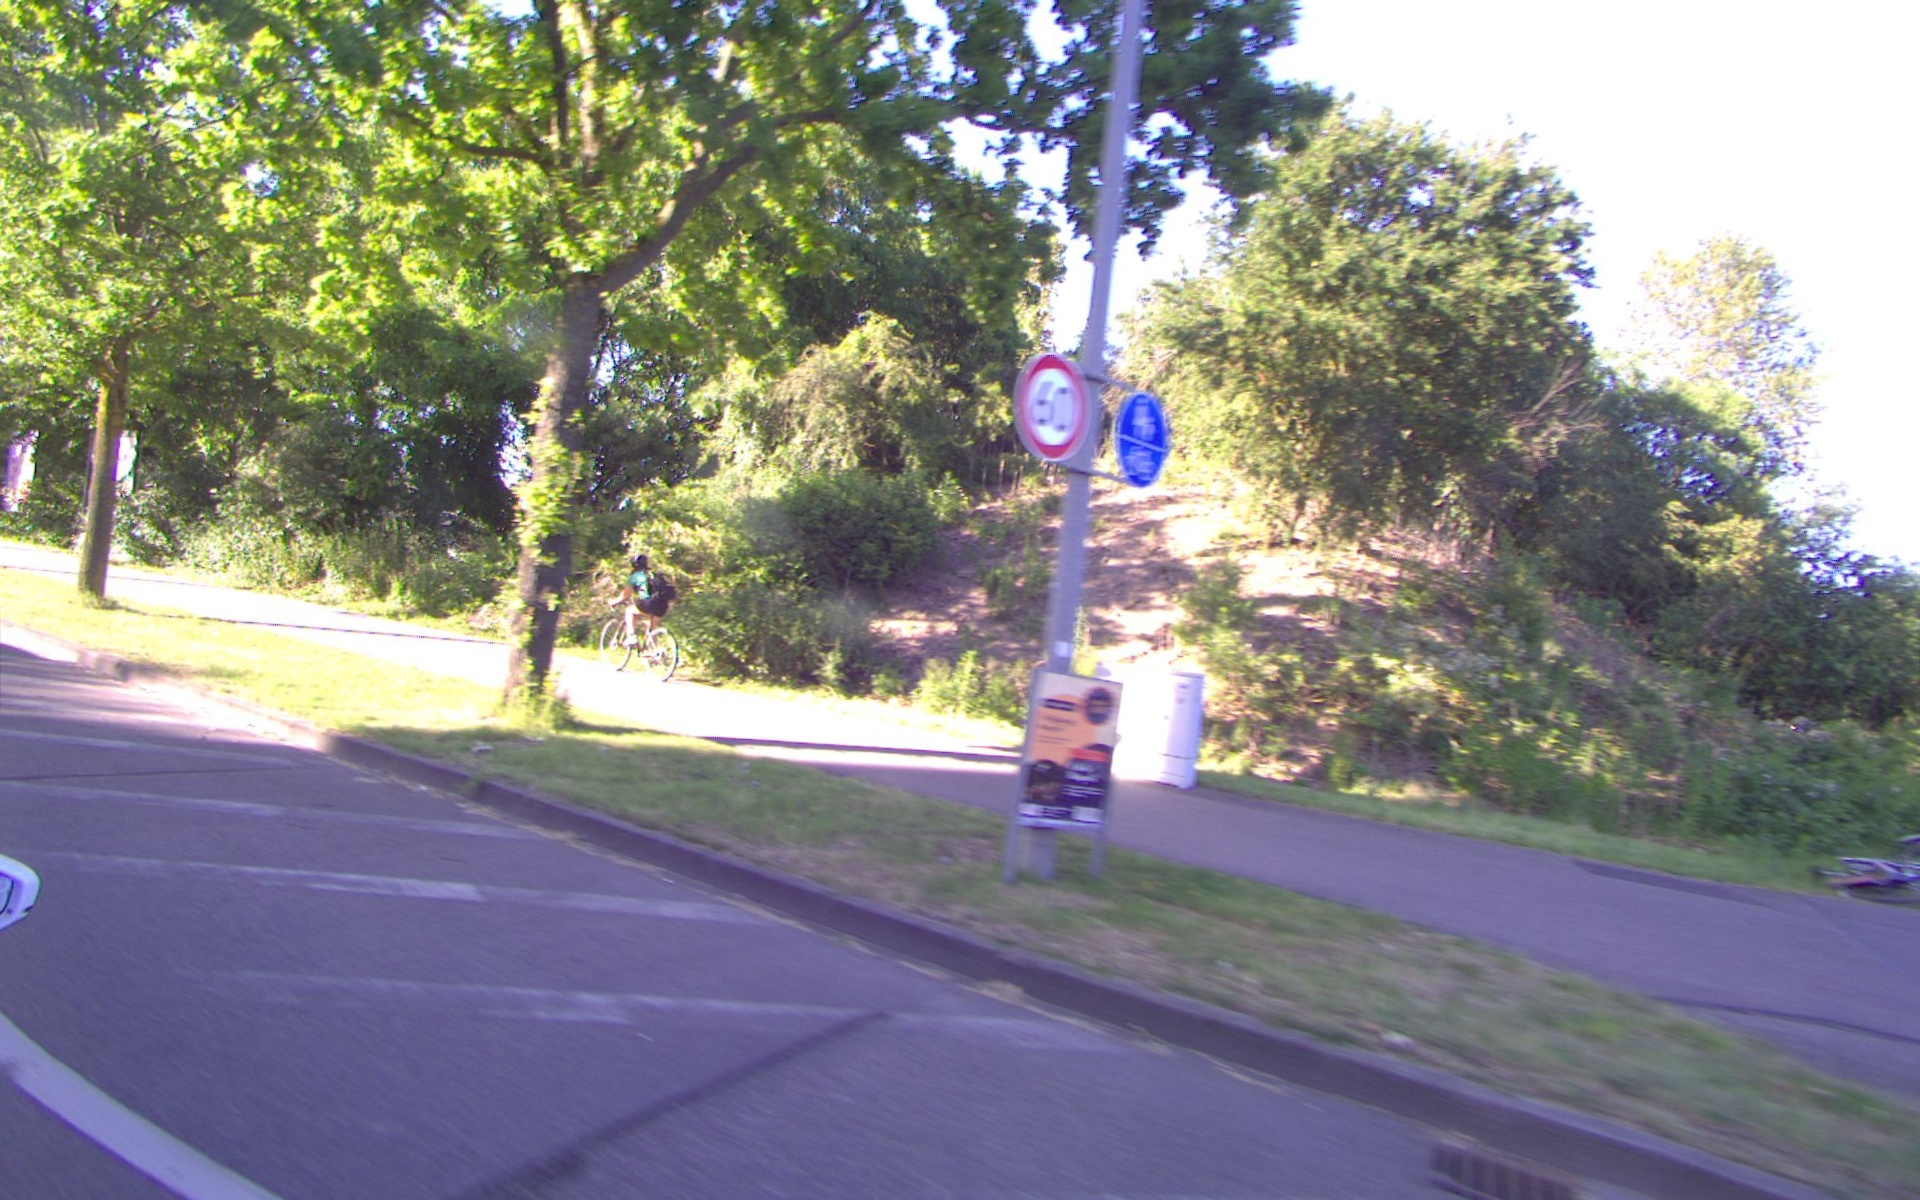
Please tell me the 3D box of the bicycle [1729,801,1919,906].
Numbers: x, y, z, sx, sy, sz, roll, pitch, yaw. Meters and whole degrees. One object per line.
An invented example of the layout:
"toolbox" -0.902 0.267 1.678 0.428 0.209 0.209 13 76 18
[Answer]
"bicycle" 8.625 2.424 9.437 2.156 0.629 0.842 8 1 -3

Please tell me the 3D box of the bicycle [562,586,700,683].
"bicycle" -4.501 0.461 13.722 1.903 1.085 0.517 7 0 29

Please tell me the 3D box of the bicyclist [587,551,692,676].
"bicyclist" -4.349 0.187 13.669 1.018 1.540 0.686 7 0 29
